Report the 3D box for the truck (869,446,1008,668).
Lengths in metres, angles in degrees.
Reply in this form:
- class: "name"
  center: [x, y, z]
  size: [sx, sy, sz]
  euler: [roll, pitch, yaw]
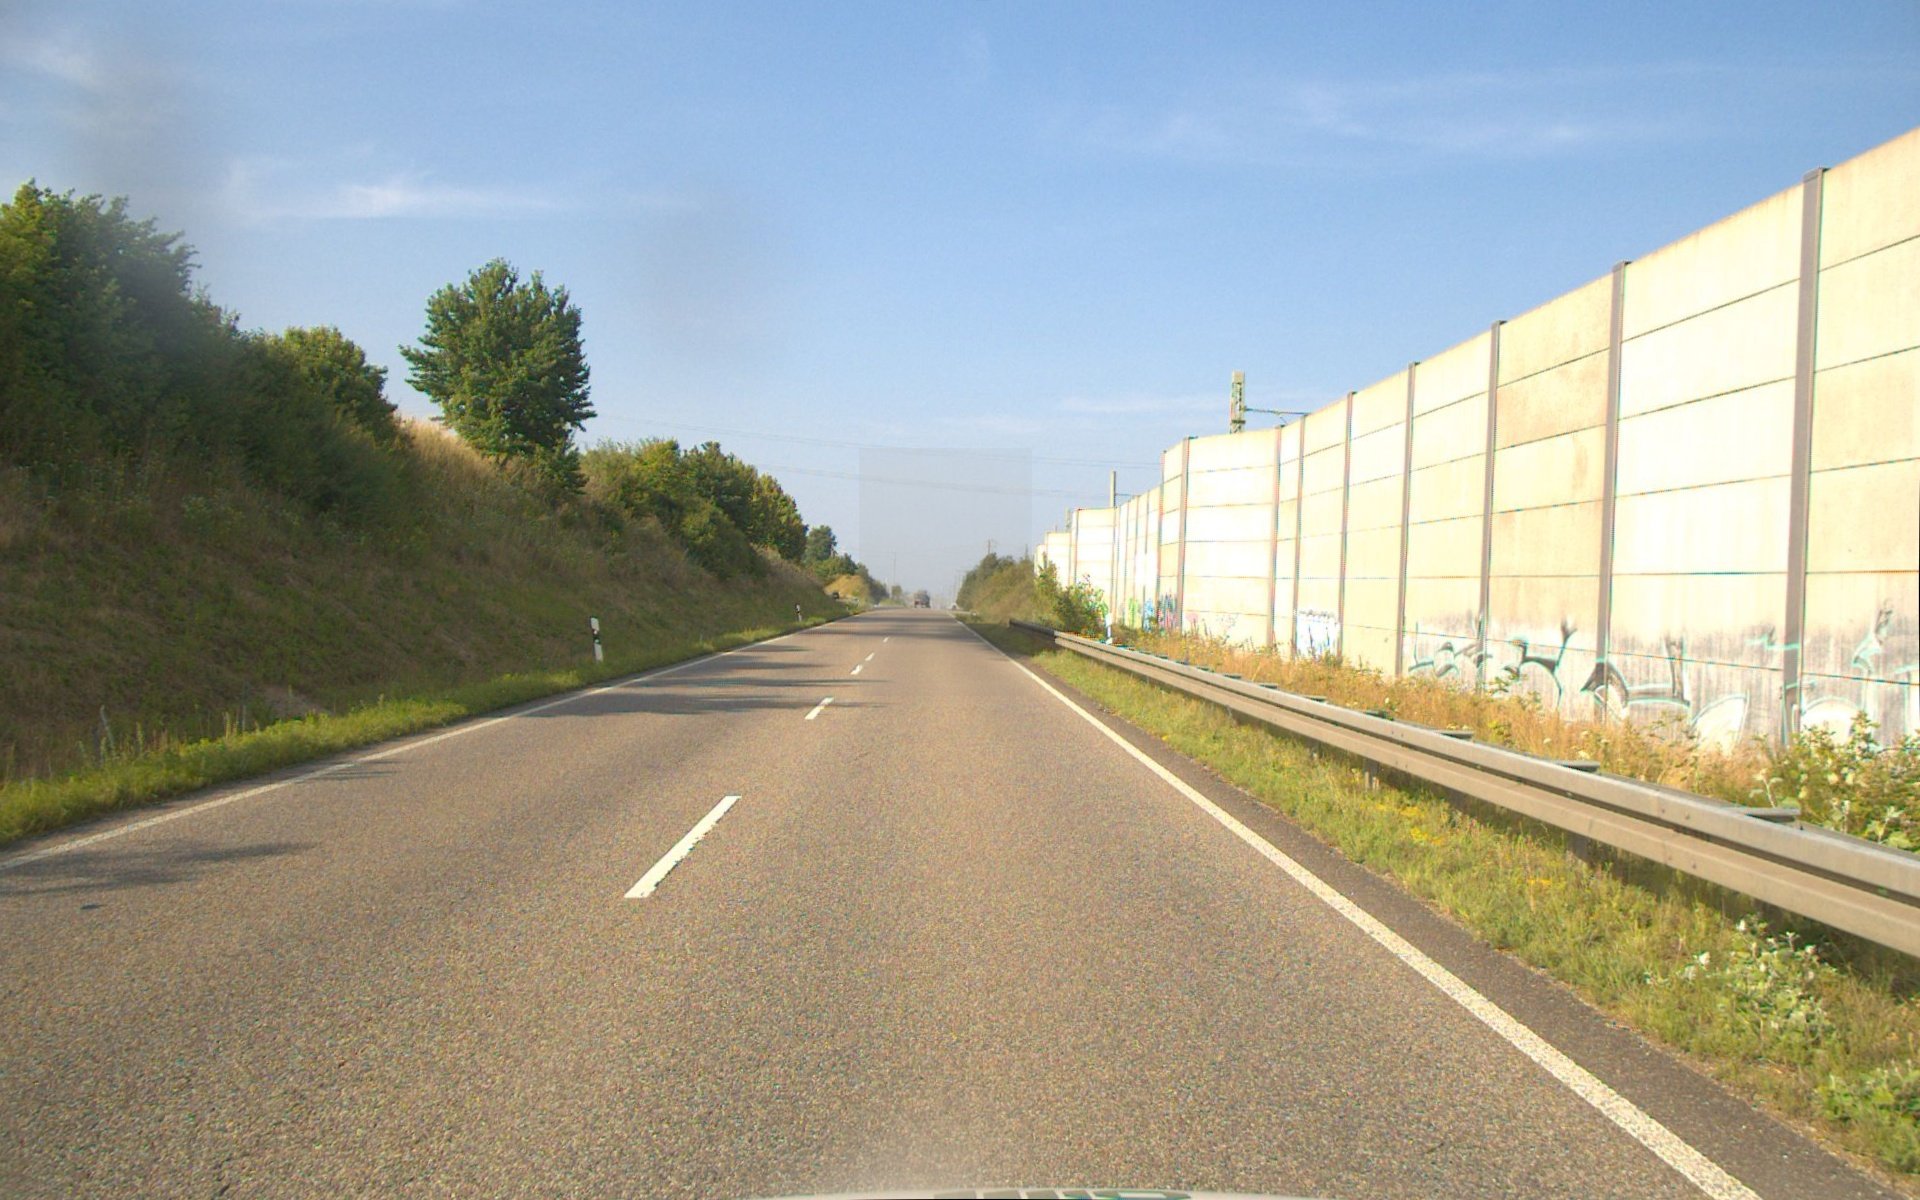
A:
- class: "truck"
  center: [-0.800, -1.057, 44.920]
  size: [3.225, 5.179, 12.031]
  euler: [1, 0, -3]
